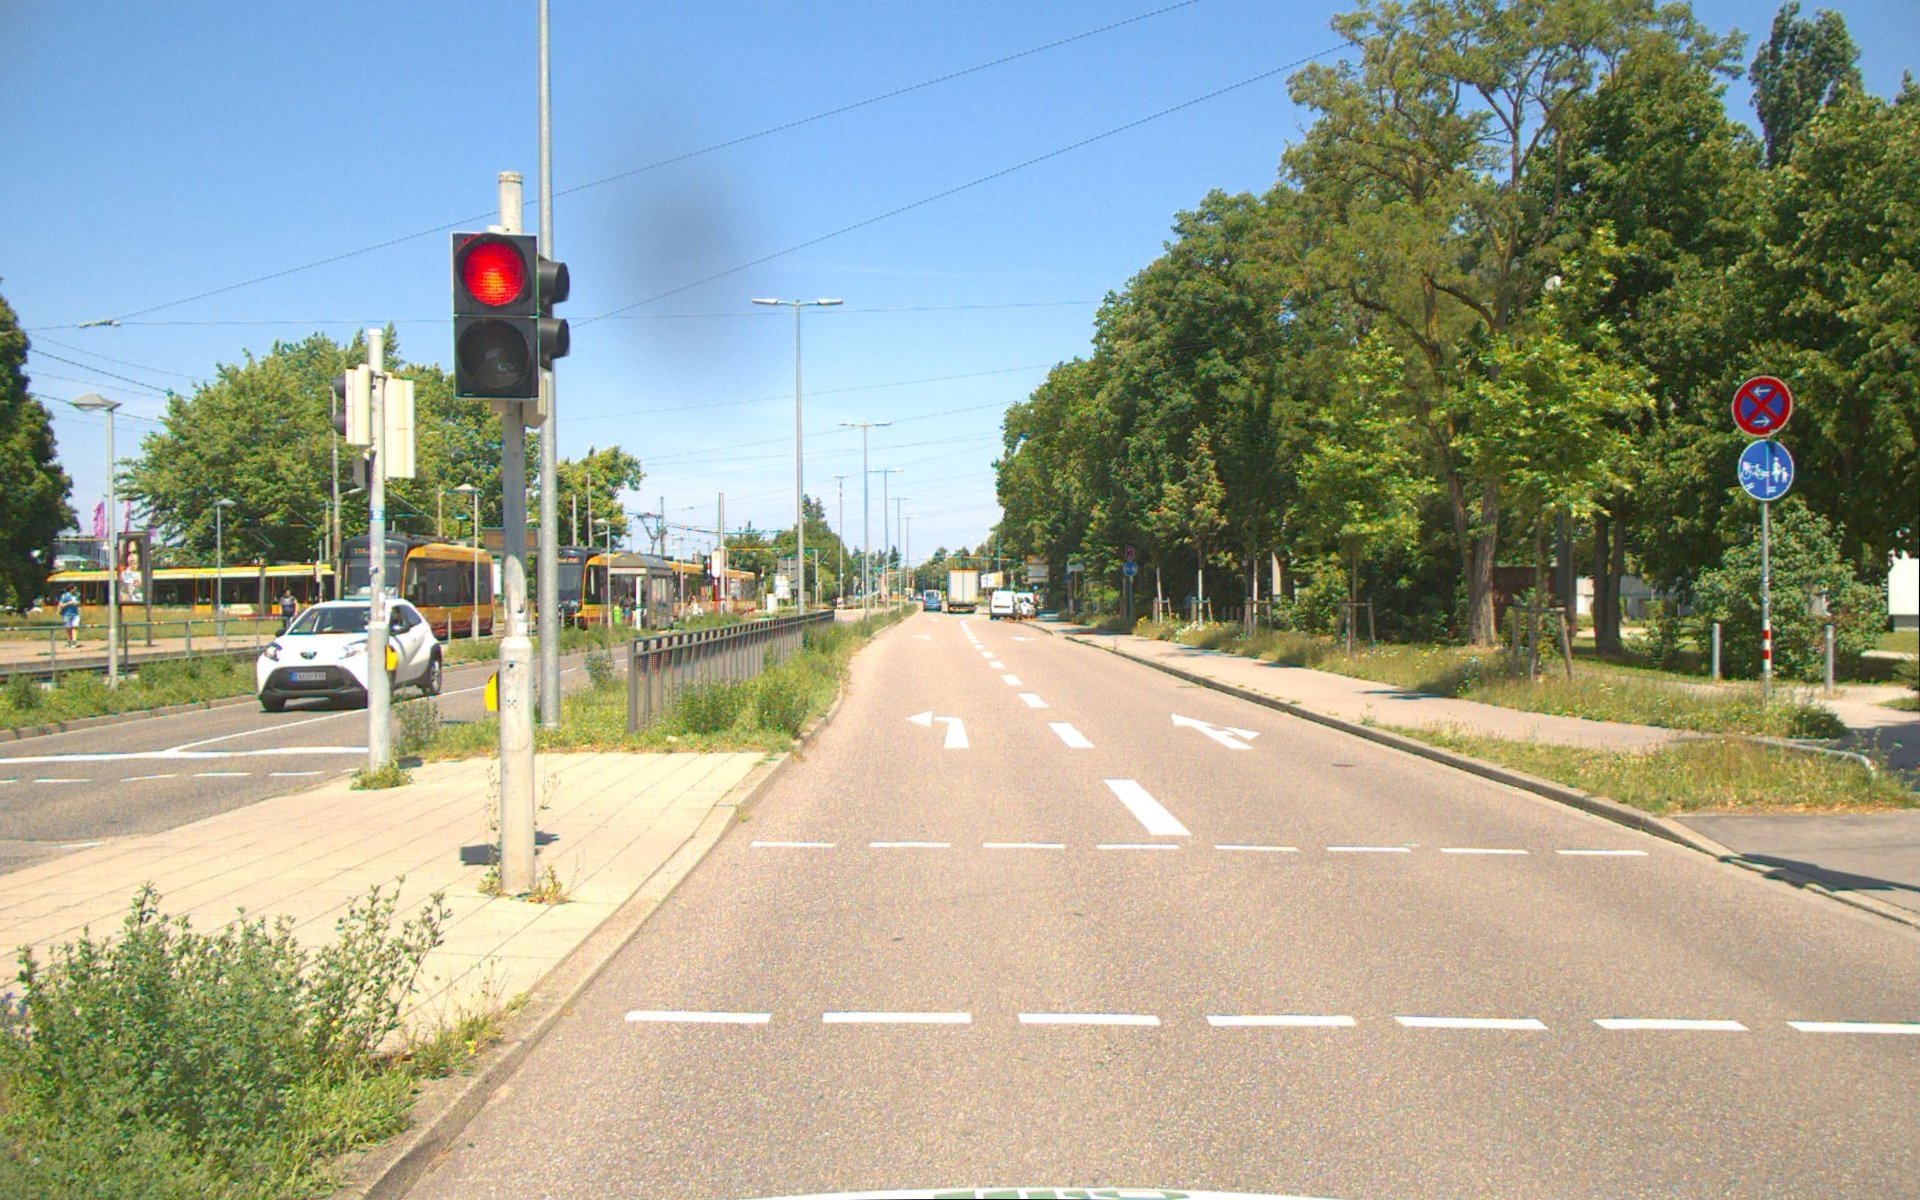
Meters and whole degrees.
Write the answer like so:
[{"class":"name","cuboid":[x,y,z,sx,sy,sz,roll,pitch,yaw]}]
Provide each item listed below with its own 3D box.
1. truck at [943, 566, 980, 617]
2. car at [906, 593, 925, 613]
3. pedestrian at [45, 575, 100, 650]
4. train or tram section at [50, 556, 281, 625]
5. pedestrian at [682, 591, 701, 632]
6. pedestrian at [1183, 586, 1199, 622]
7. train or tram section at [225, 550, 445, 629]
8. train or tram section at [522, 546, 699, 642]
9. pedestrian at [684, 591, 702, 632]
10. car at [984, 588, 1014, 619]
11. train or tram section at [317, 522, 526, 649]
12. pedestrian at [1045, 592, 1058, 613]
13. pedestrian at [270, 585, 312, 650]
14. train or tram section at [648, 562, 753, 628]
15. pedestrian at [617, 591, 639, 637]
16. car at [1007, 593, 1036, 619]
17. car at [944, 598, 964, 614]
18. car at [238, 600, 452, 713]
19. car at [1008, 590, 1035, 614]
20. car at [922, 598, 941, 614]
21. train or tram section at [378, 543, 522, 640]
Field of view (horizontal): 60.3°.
[{"class":"truck","cuboid":[0.068,-0.731,146.065,3.140,4.435,6.559,0,0,-1]},{"class":"car","cuboid":[-4.700,0.332,175.088,1.953,2.049,3.999,0,0,-1]},{"class":"pedestrian","cuboid":[-24.539,0.348,45.759,0.961,2.049,1.021,0,0,-1]},{"class":"train or tram section","cuboid":[-48.933,-0.547,101.402,18.097,4.000,3.220,0,0,30]},{"class":"pedestrian","cuboid":[-13.746,0.590,84.728,0.798,2.049,0.938,0,0,-1]},{"class":"pedestrian","cuboid":[9.496,0.153,67.982,0.591,1.463,0.556,0,0,6]},{"class":"train or tram section","cuboid":[-34.738,-0.545,91.069,18.164,4.000,3.208,0,0,41]},{"class":"train or tram section","cuboid":[-16.305,-0.286,80.997,2.898,3.815,30.025,0,0,-1]},{"class":"pedestrian","cuboid":[-13.470,0.589,83.439,0.798,2.049,0.938,0,0,-1]},{"class":"car","cuboid":[2.450,0.221,105.548,1.743,1.937,3.999,0,0,-1]},{"class":"train or tram section","cuboid":[-19.341,-0.495,61.179,3.152,4.000,18.482,0,0,-5]},{"class":"pedestrian","cuboid":[9.043,0.207,163.421,1.161,2.049,1.213,0,0,-1]},{"class":"pedestrian","cuboid":[-21.564,0.555,53.341,0.961,2.049,1.021,0,0,-1]},{"class":"train or tram section","cuboid":[-17.115,-0.359,112.539,2.872,3.856,33.076,0,0,-2]},{"class":"pedestrian","cuboid":[-13.853,0.592,69.080,0.769,1.901,0.817,0,0,-1]},{"class":"car","cuboid":[4.179,0.398,112.502,1.743,1.698,3.999,0,0,-1]},{"class":"car","cuboid":[-0.593,0.563,153.599,1.774,1.490,3.999,0,0,-1]},{"class":"car","cuboid":[-8.991,0.770,24.520,1.807,1.521,3.790,0,0,-1]},{"class":"car","cuboid":[4.403,0.118,118.853,1.743,1.698,3.999,0,0,-1]},{"class":"car","cuboid":[-2.688,0.522,157.835,1.774,1.490,3.999,0,0,-1]},{"class":"train or tram section","cuboid":[-24.194,-0.379,77.425,3.178,4.000,18.331,0,0,-28]}]
